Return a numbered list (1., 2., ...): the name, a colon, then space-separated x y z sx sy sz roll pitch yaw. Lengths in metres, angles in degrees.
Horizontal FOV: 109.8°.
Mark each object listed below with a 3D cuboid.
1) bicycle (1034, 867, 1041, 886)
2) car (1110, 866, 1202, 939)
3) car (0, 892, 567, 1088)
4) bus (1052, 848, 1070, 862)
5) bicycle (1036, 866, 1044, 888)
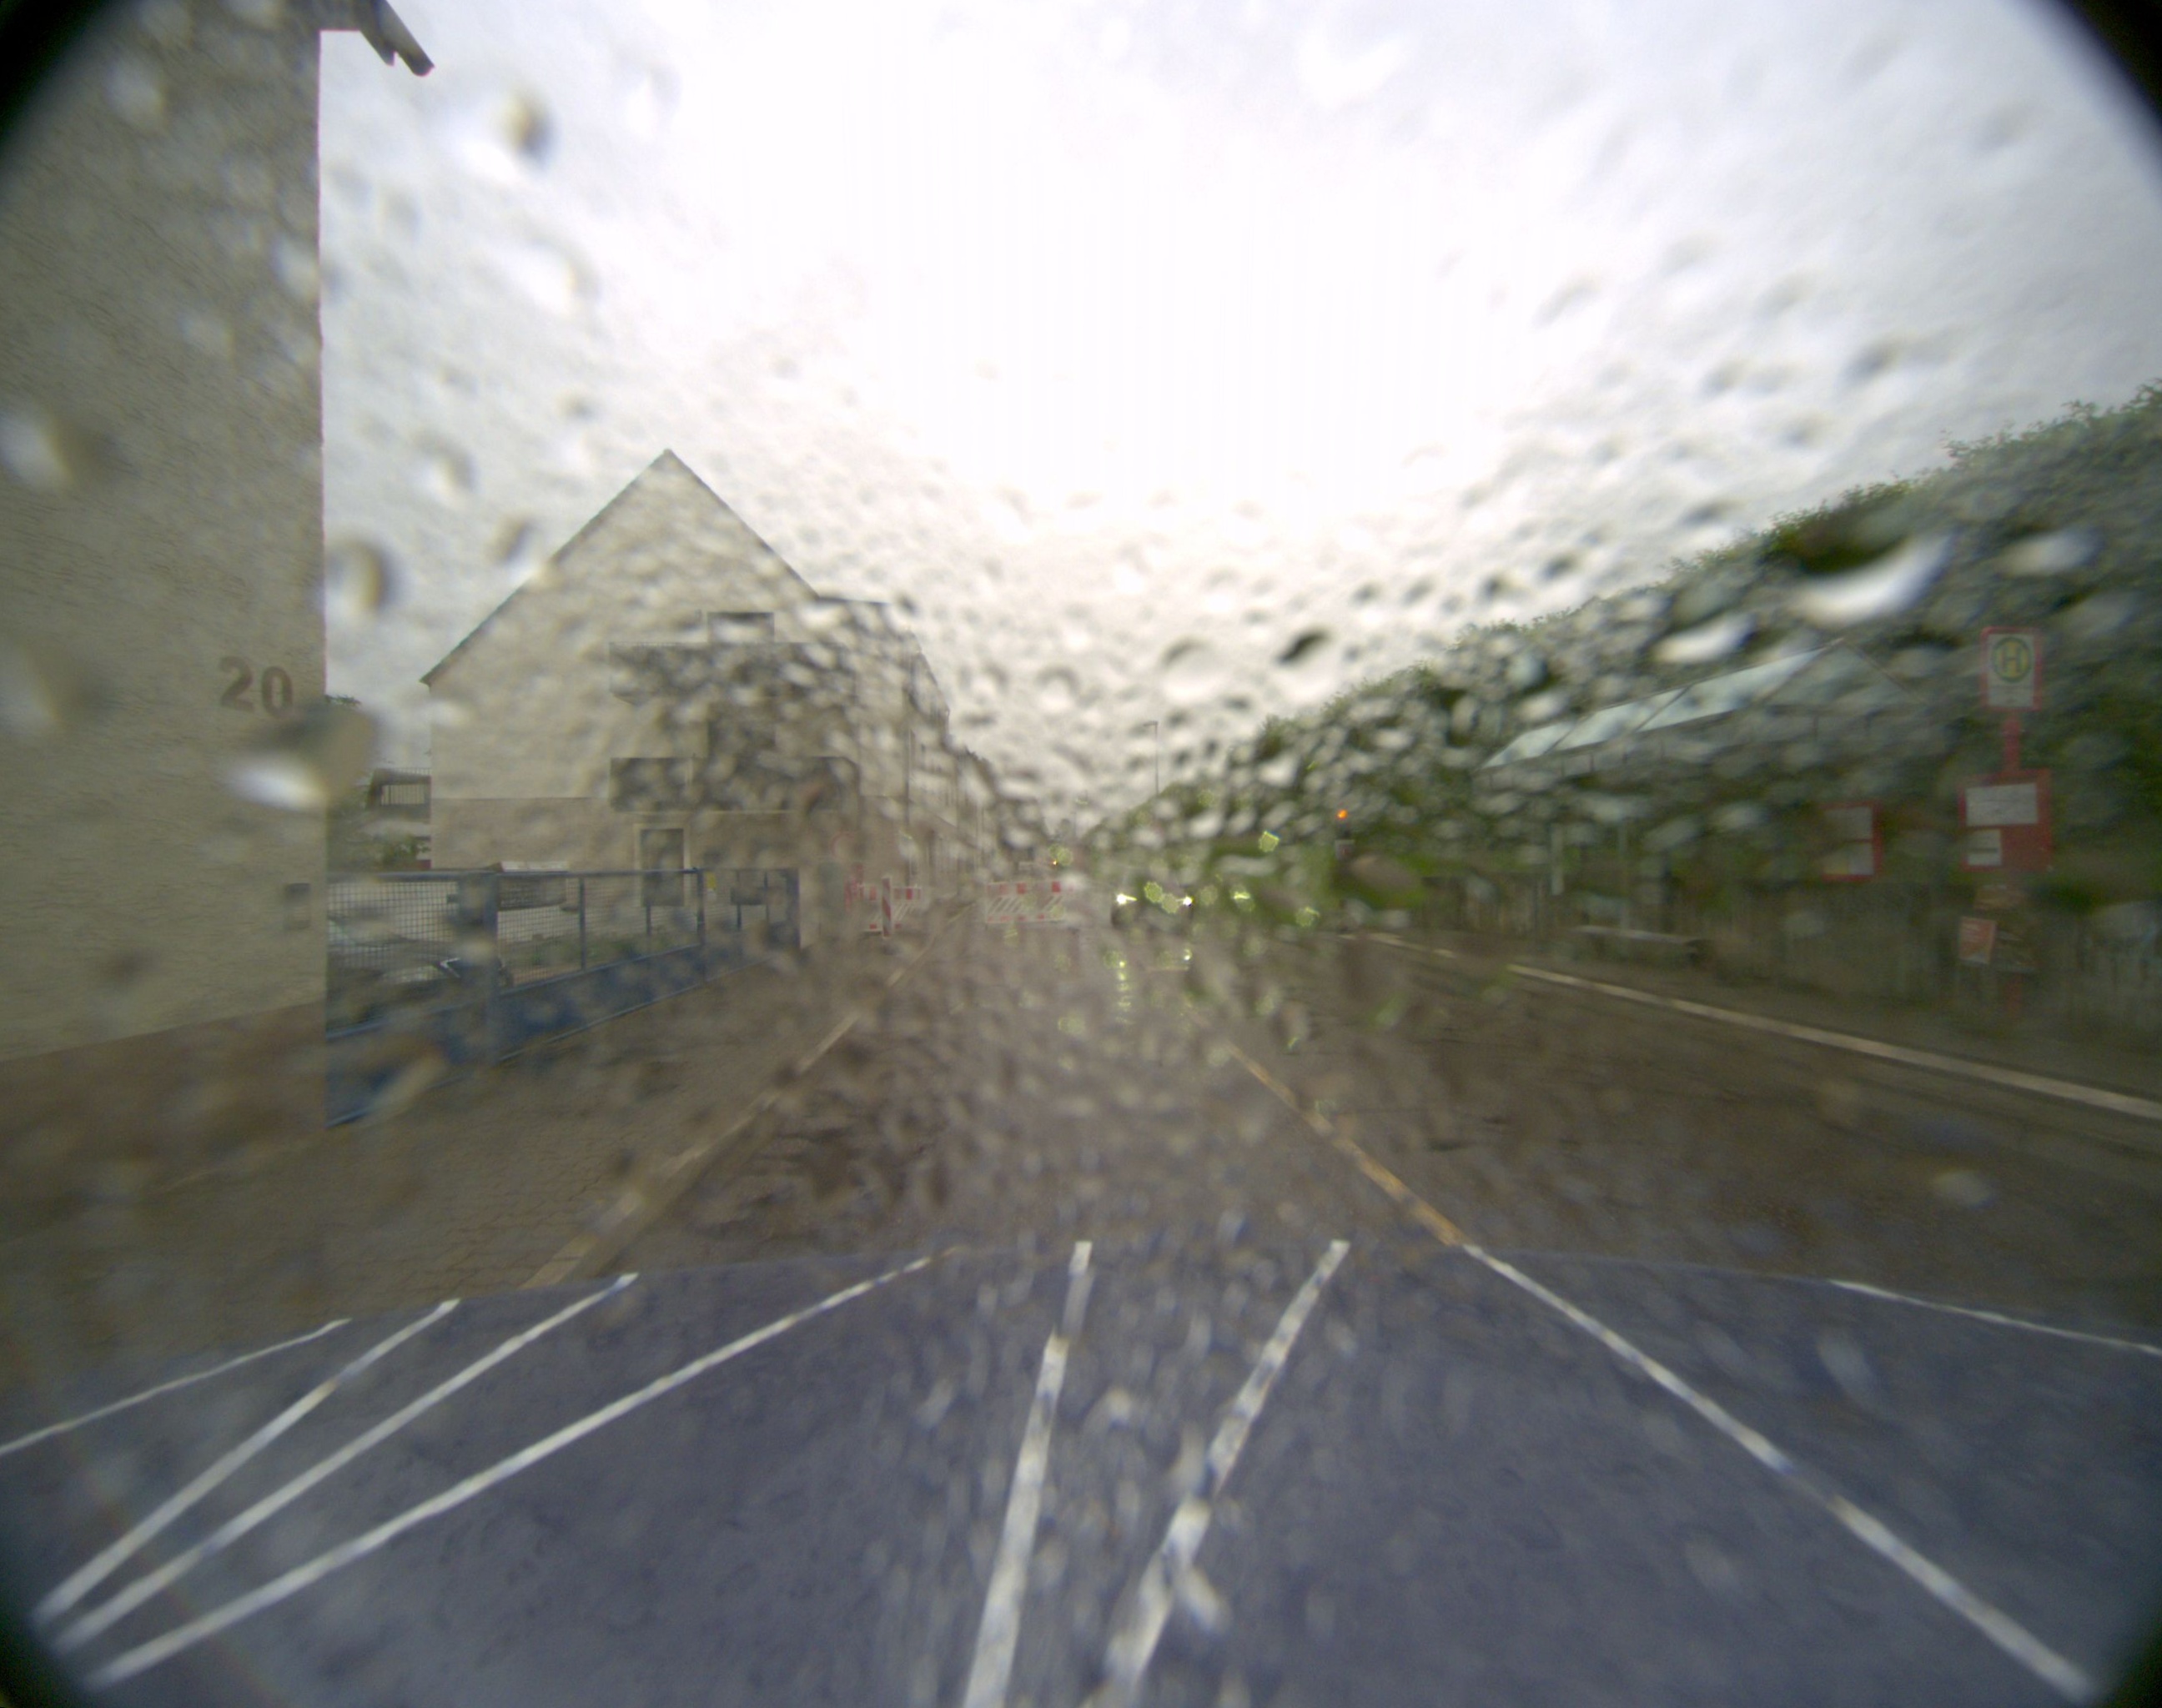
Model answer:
1. bicycle: -2.431 1.264 42.566 0.407 1.023 1.221 0 1 -2
2. car: 1.680 1.059 18.460 1.851 1.444 4.532 1 0 1
3. car: -7.865 1.229 7.480 4.156 1.294 1.911 -4 1 -4
4. bus: -4.327 0.095 169.023 2.684 2.987 14.549 1 0 4
5. bicycle: -2.151 1.224 40.265 0.407 1.137 1.221 0 1 -2
